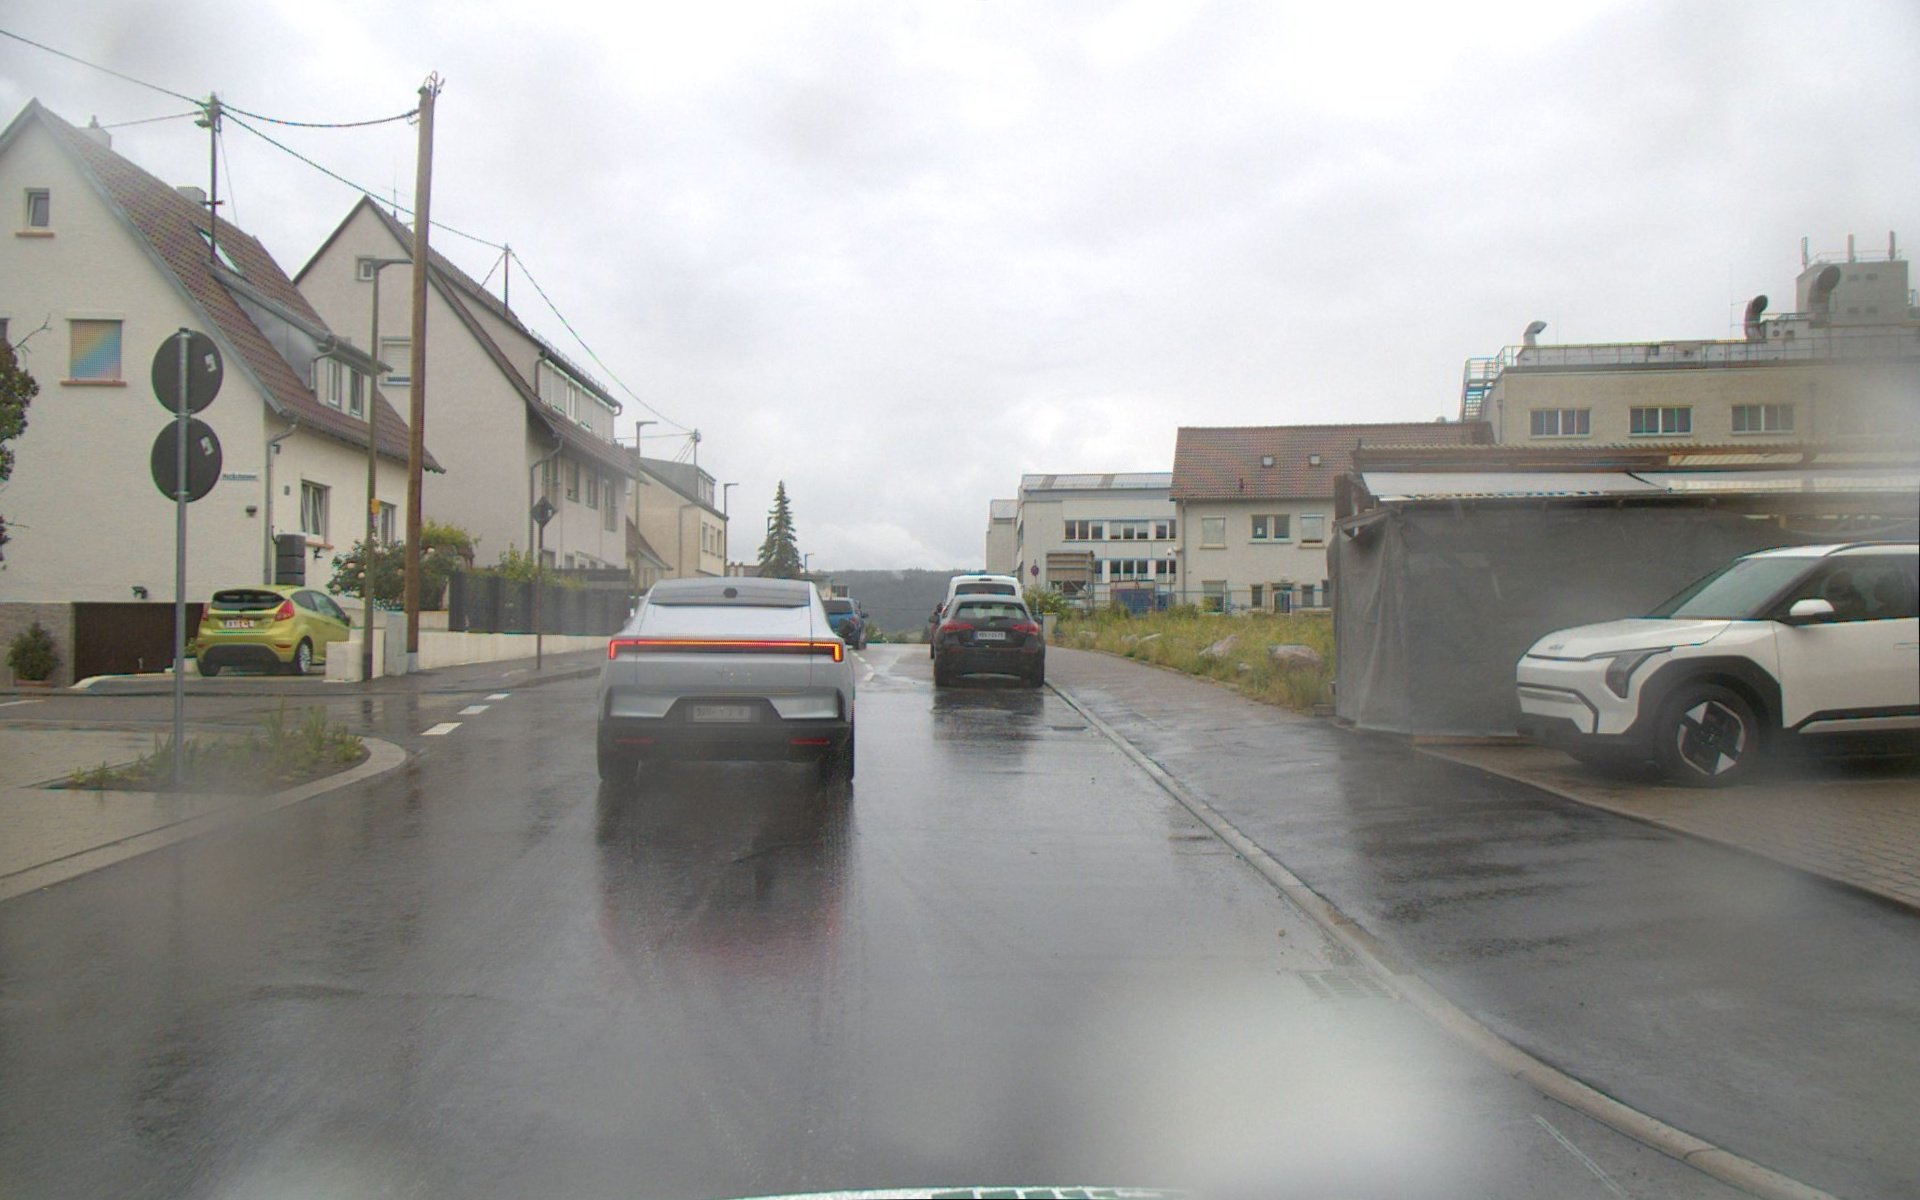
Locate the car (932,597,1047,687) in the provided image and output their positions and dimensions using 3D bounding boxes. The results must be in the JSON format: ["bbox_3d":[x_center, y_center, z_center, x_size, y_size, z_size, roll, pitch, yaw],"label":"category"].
[{"bbox_3d":[0.424,0.672,27.778,1.733,1.359,4.319,1,-1,-1],"label":"car"}]

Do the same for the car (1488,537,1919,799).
[{"bbox_3d":[6.142,0.426,11.765,4.132,1.638,1.860,-2,-1,-3],"label":"car"}]

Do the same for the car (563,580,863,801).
[{"bbox_3d":[-1.860,0.652,13.904,1.953,1.528,4.668,1,0,-2],"label":"car"}]

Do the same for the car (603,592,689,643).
[{"bbox_3d":[-10.614,0.611,56.263,1.953,1.536,4.894,3,-1,-1],"label":"car"}]

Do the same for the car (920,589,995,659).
[{"bbox_3d":[-0.107,0.578,40.934,1.609,1.602,4.641,1,-1,-3],"label":"car"}]

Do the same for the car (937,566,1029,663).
[{"bbox_3d":[0.423,0.303,34.527,1.733,1.857,4.573,1,-1,-1],"label":"car"}]

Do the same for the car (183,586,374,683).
[{"bbox_3d":[-11.317,0.581,27.712,1.742,1.493,3.456,1,-1,0],"label":"car"}]
